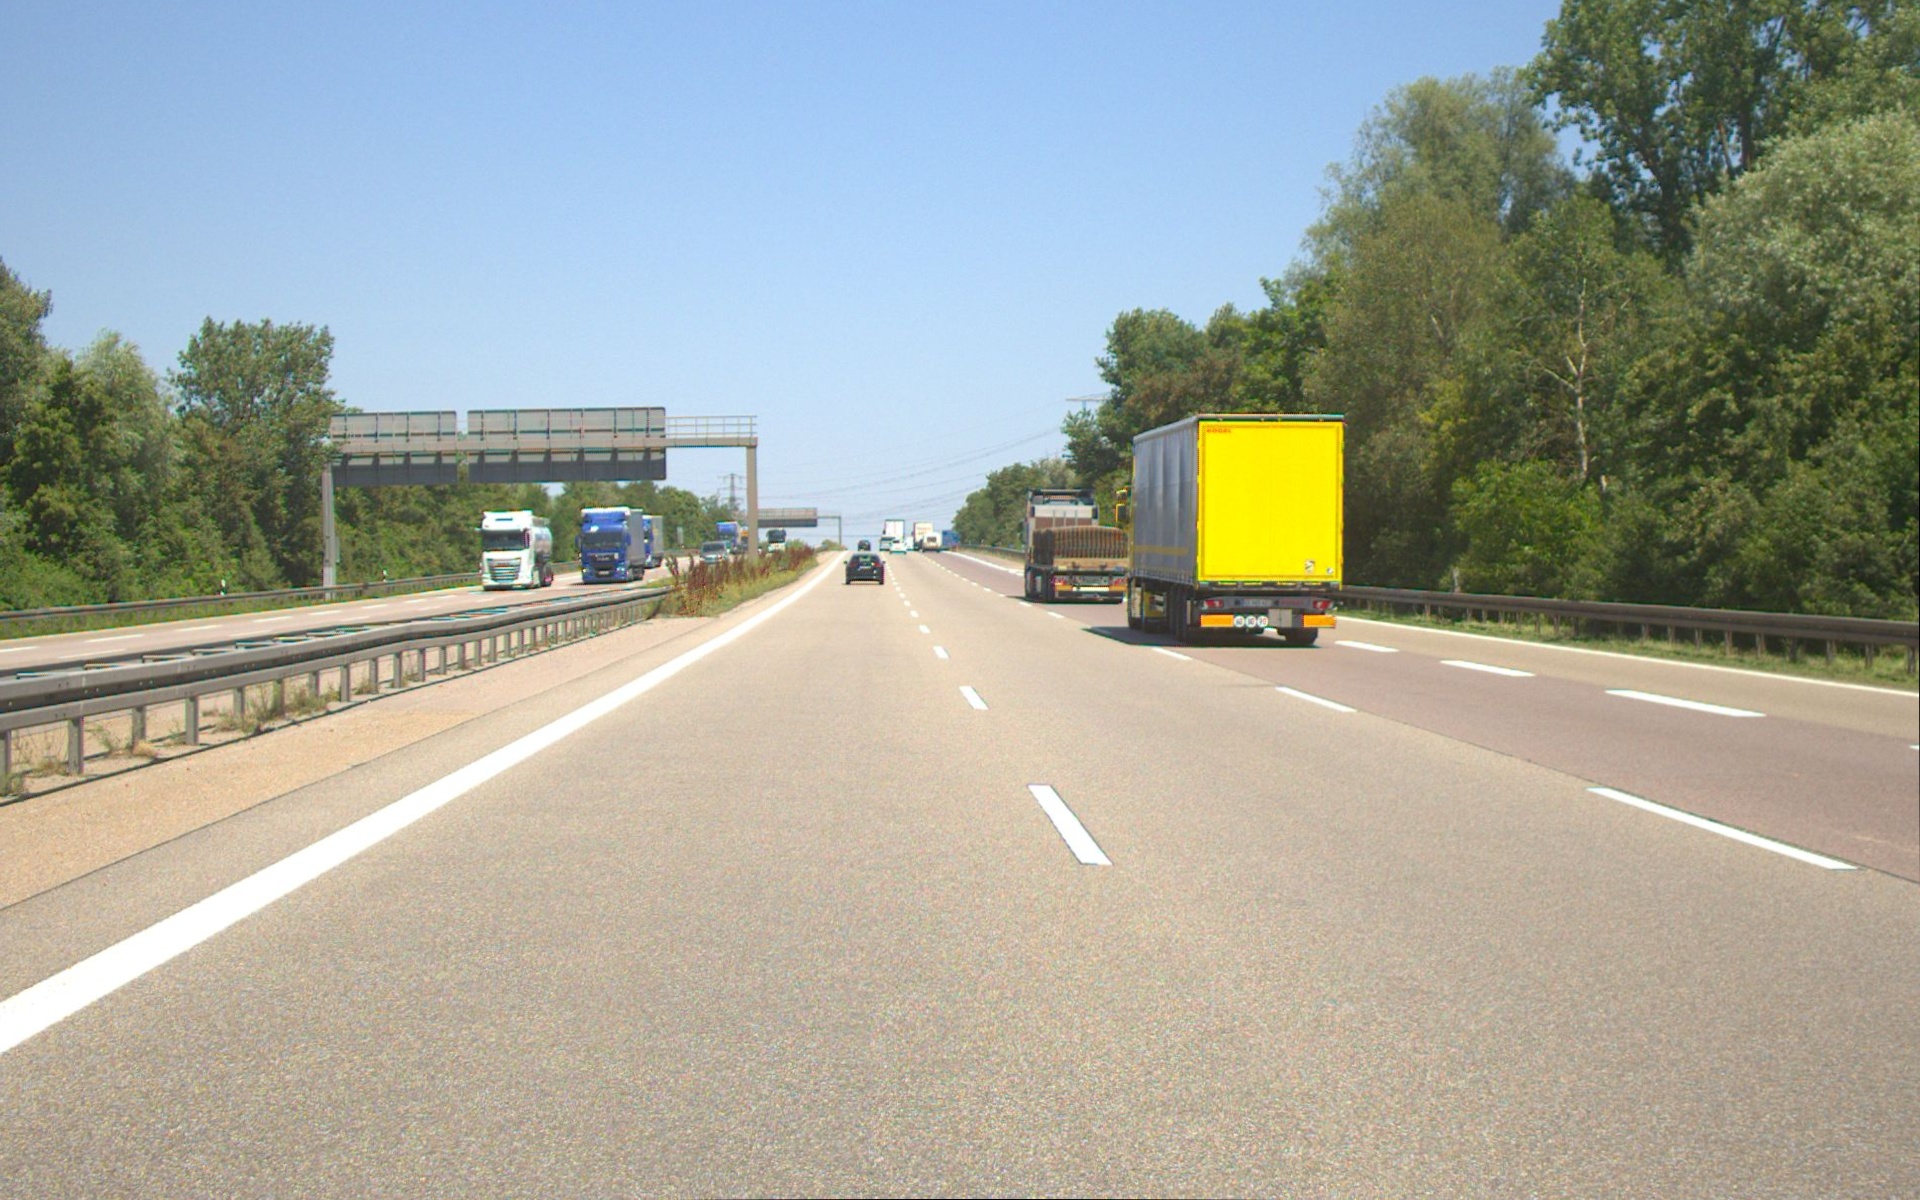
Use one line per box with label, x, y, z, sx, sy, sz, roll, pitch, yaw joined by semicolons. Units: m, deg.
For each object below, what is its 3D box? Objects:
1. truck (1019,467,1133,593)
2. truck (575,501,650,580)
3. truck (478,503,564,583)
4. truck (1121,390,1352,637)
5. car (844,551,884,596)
truck;3.818;-2.293;117.070;2.969;3.943;16.614;1;1;-1
truck;-19.634;-3.383;195.225;2.955;4.231;17.183;-1;1;-2
truck;-23.169;-3.004;182.323;2.955;4.004;15.822;-1;1;-2
truck;5.179;-1.573;67.805;2.845;4.243;16.792;-1;1;-1
car;-4.416;-1.216;159.004;1.791;2.007;3.888;1;0;-1
